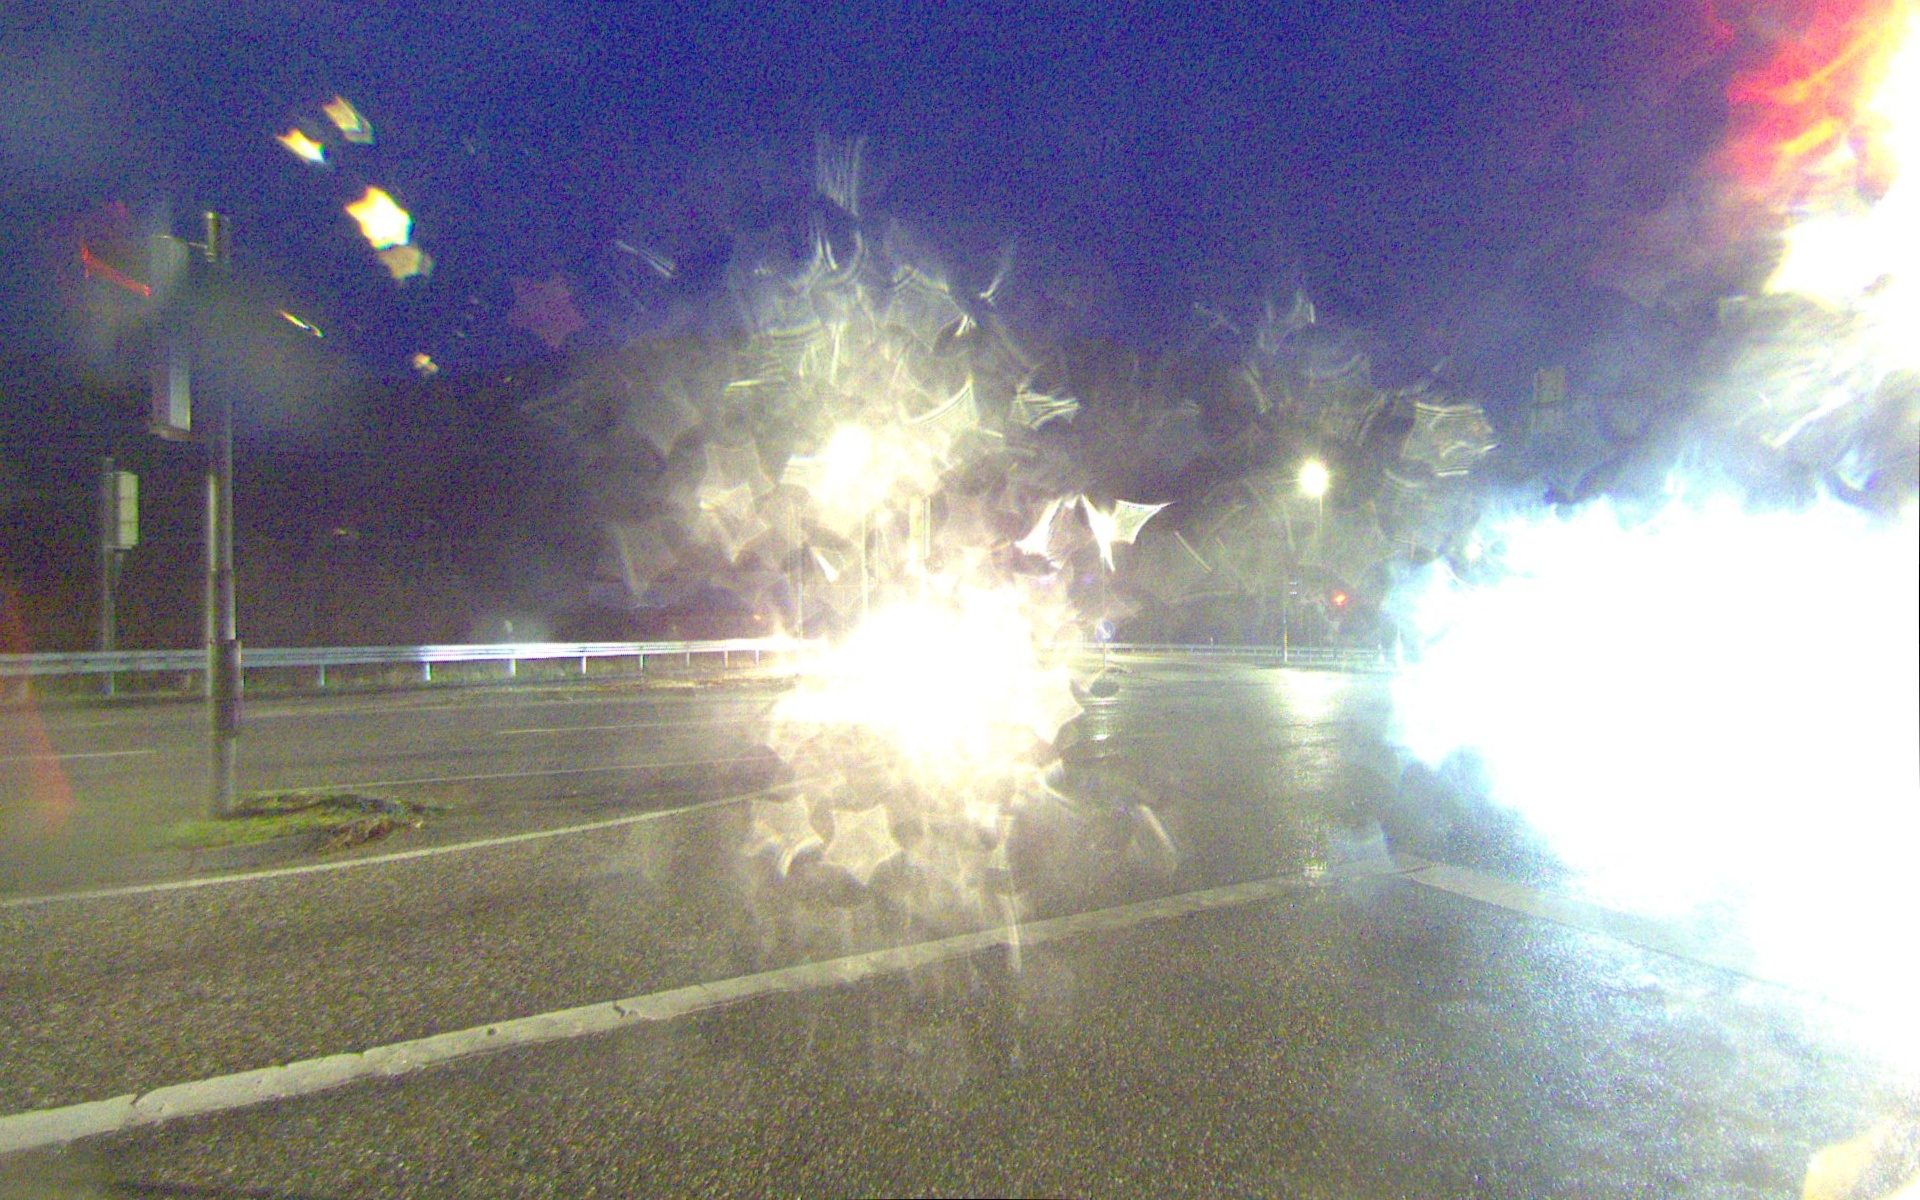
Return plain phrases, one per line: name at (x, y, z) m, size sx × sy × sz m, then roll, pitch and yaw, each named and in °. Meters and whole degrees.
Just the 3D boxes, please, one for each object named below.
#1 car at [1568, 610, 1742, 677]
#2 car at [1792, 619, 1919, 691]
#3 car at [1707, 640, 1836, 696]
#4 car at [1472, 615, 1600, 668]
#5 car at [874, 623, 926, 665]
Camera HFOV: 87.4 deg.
car at (17.866, 1.087, 25.771) m, size 4.855 × 1.592 × 1.784 m, roll 1°, pitch -1°, yaw -30°
car at (22.262, 1.297, 24.314) m, size 4.654 × 1.592 × 1.692 m, roll 1°, pitch -1°, yaw -29°
car at (23.475, 1.952, 29.037) m, size 3.683 × 1.473 × 1.660 m, roll 2°, pitch -1°, yaw -29°
car at (21.087, 1.494, 36.944) m, size 3.924 × 1.856 × 1.720 m, roll 0°, pitch -1°, yaw 24°
car at (-2.283, 1.747, 39.227) m, size 1.626 × 1.518 × 4.377 m, roll -1°, pitch -3°, yaw 2°
